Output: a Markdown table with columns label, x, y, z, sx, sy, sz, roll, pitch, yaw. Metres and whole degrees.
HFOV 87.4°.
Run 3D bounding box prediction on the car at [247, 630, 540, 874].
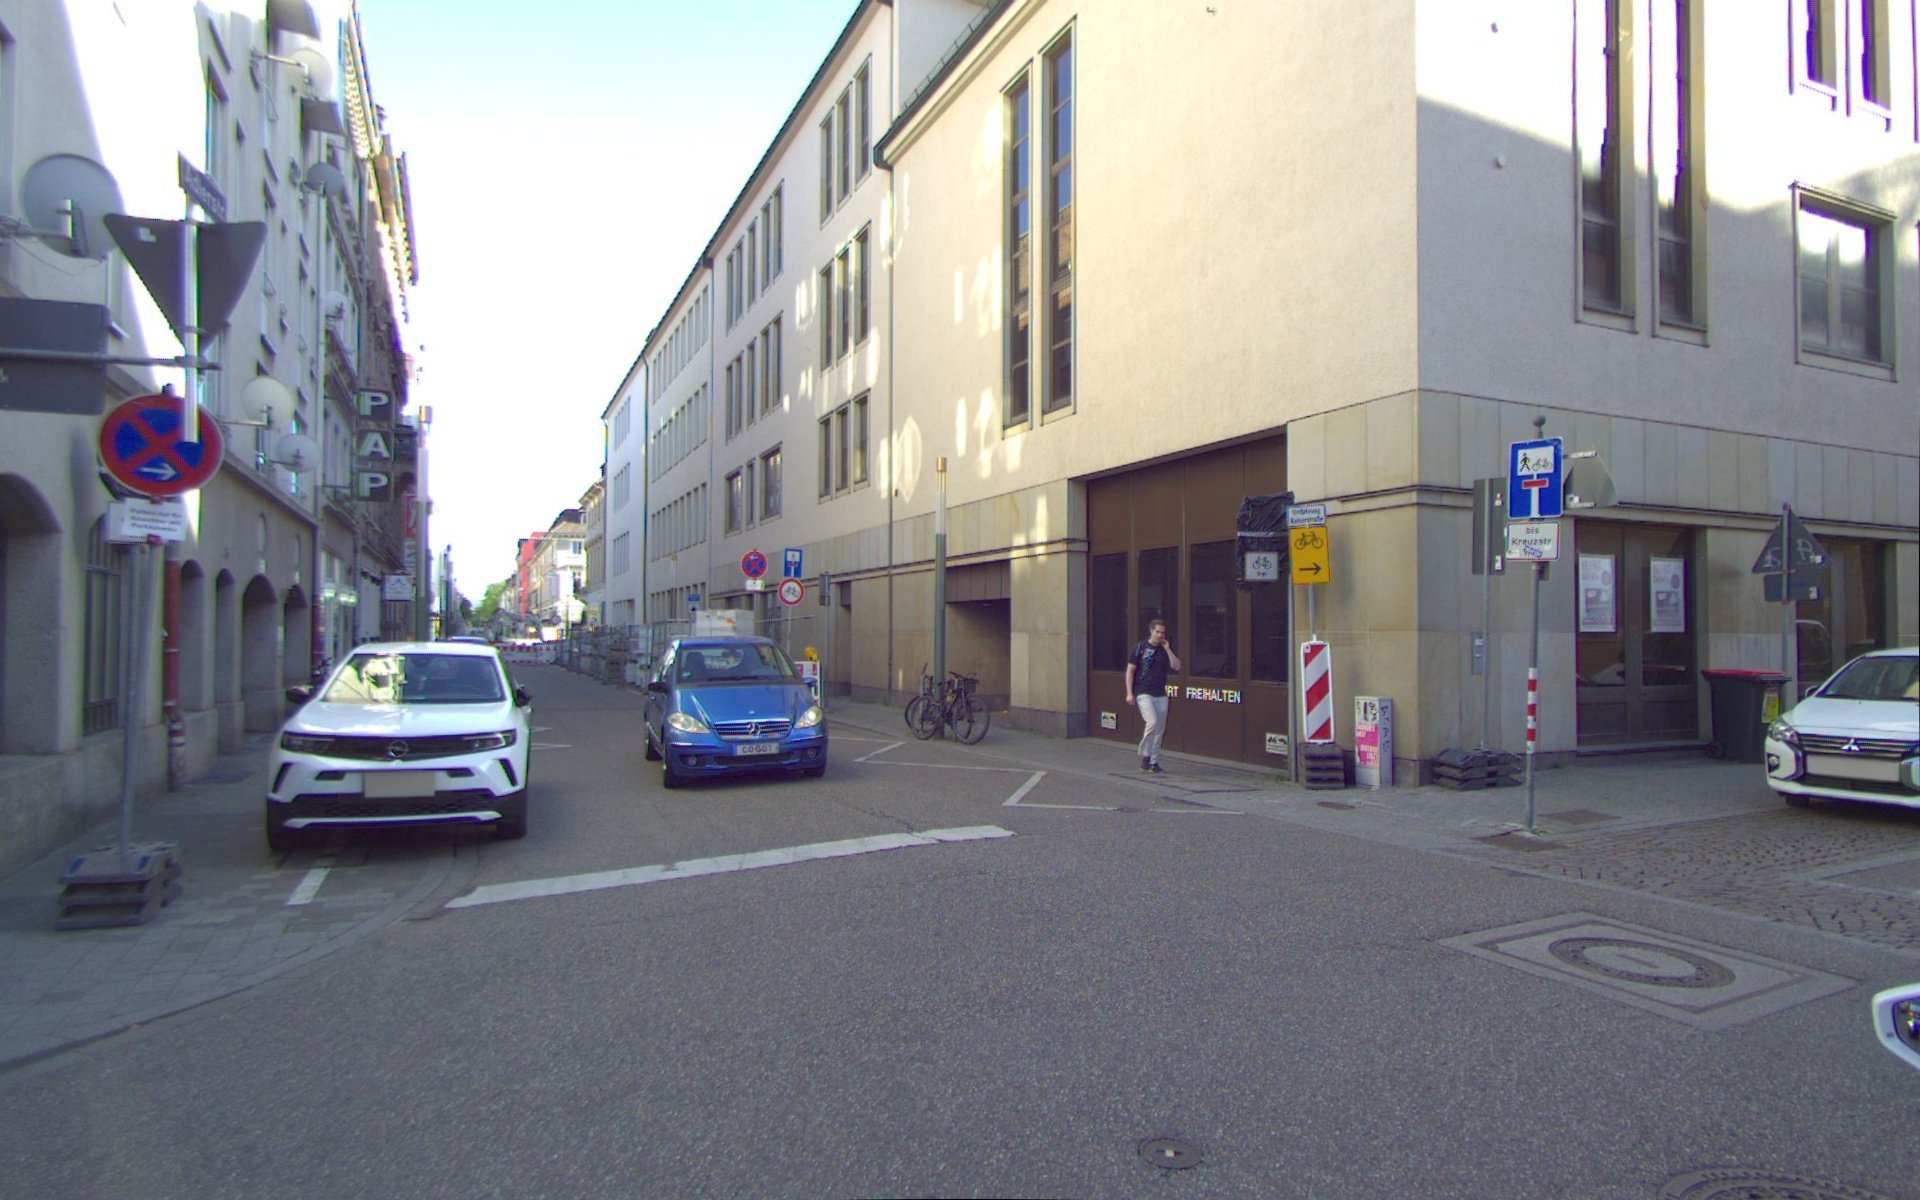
| label | x | y | z | sx | sy | sz | roll | pitch | yaw |
| --- | --- | --- | --- | --- | --- | --- | --- | --- | --- |
| car | -4.678 | 1.107 | 8.861 | 1.718 | 1.614 | 3.949 | 2 | -3 | -22 |

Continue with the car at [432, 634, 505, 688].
| label | x | y | z | sx | sy | sz | roll | pitch | yaw |
| --- | --- | --- | --- | --- | --- | --- | --- | --- | --- |
| car | -15.206 | 1.846 | 30.959 | 1.772 | 1.545 | 3.970 | 3 | -3 | -29 |

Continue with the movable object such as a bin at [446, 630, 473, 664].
| label | x | y | z | sx | sy | sz | roll | pitch | yaw |
| --- | --- | --- | --- | --- | --- | --- | --- | --- | --- |
| movable object such as a bin | -23.850 | 2.227 | 47.879 | 1.071 | 1.564 | 0.901 | 2 | -2 | -30 |

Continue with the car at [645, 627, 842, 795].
| label | x | y | z | sx | sy | sz | roll | pitch | yaw |
| --- | --- | --- | --- | --- | --- | --- | --- | --- | --- |
| car | -2.748 | 1.186 | 12.073 | 1.828 | 1.614 | 3.790 | -1 | -2 | -20 |

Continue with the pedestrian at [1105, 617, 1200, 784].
| label | x | y | z | sx | sy | sz | roll | pitch | yaw |
| --- | --- | --- | --- | --- | --- | --- | --- | --- | --- |
| pedestrian | 2.277 | 1.166 | 11.912 | 0.710 | 1.878 | 0.853 | 3 | -4 | -38 |

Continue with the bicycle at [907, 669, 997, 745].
| label | x | y | z | sx | sy | sz | roll | pitch | yaw |
| --- | --- | --- | --- | --- | --- | --- | --- | --- | --- |
| bicycle | -0.143 | 1.619 | 15.472 | 0.300 | 1.064 | 1.770 | 1 | -2 | -42 |

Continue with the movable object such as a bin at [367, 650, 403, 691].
| label | x | y | z | sx | sy | sz | roll | pitch | yaw |
| --- | --- | --- | --- | --- | --- | --- | --- | --- | --- |
| movable object such as a bin | -15.923 | 1.948 | 27.812 | 0.828 | 1.062 | 0.748 | 1 | 0 | -31 |

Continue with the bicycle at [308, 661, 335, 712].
| label | x | y | z | sx | sy | sz | roll | pitch | yaw |
| --- | --- | --- | --- | --- | --- | --- | --- | --- | --- |
| bicycle | -11.983 | 1.609 | 18.867 | 0.215 | 0.869 | 1.060 | 1 | 0 | -21 |

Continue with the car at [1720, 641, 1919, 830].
| label | x | y | z | sx | sy | sz | roll | pitch | yaw |
| --- | --- | --- | --- | --- | --- | --- | --- | --- | --- |
| car | 9.144 | 1.140 | 9.386 | 3.749 | 1.511 | 1.732 | 1 | -3 | -26 |

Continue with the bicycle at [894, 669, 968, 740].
| label | x | y | z | sx | sy | sz | roll | pitch | yaw |
| --- | --- | --- | --- | --- | --- | --- | --- | --- | --- |
| bicycle | -0.495 | 1.688 | 16.510 | 0.300 | 1.064 | 1.524 | 1 | -2 | -42 |

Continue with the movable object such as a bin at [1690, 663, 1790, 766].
| label | x | y | z | sx | sy | sz | roll | pitch | yaw |
| --- | --- | --- | --- | --- | --- | --- | --- | --- | --- |
| movable object such as a bin | 9.159 | 1.328 | 11.809 | 0.583 | 1.115 | 0.734 | 1 | 0 | -25 |
